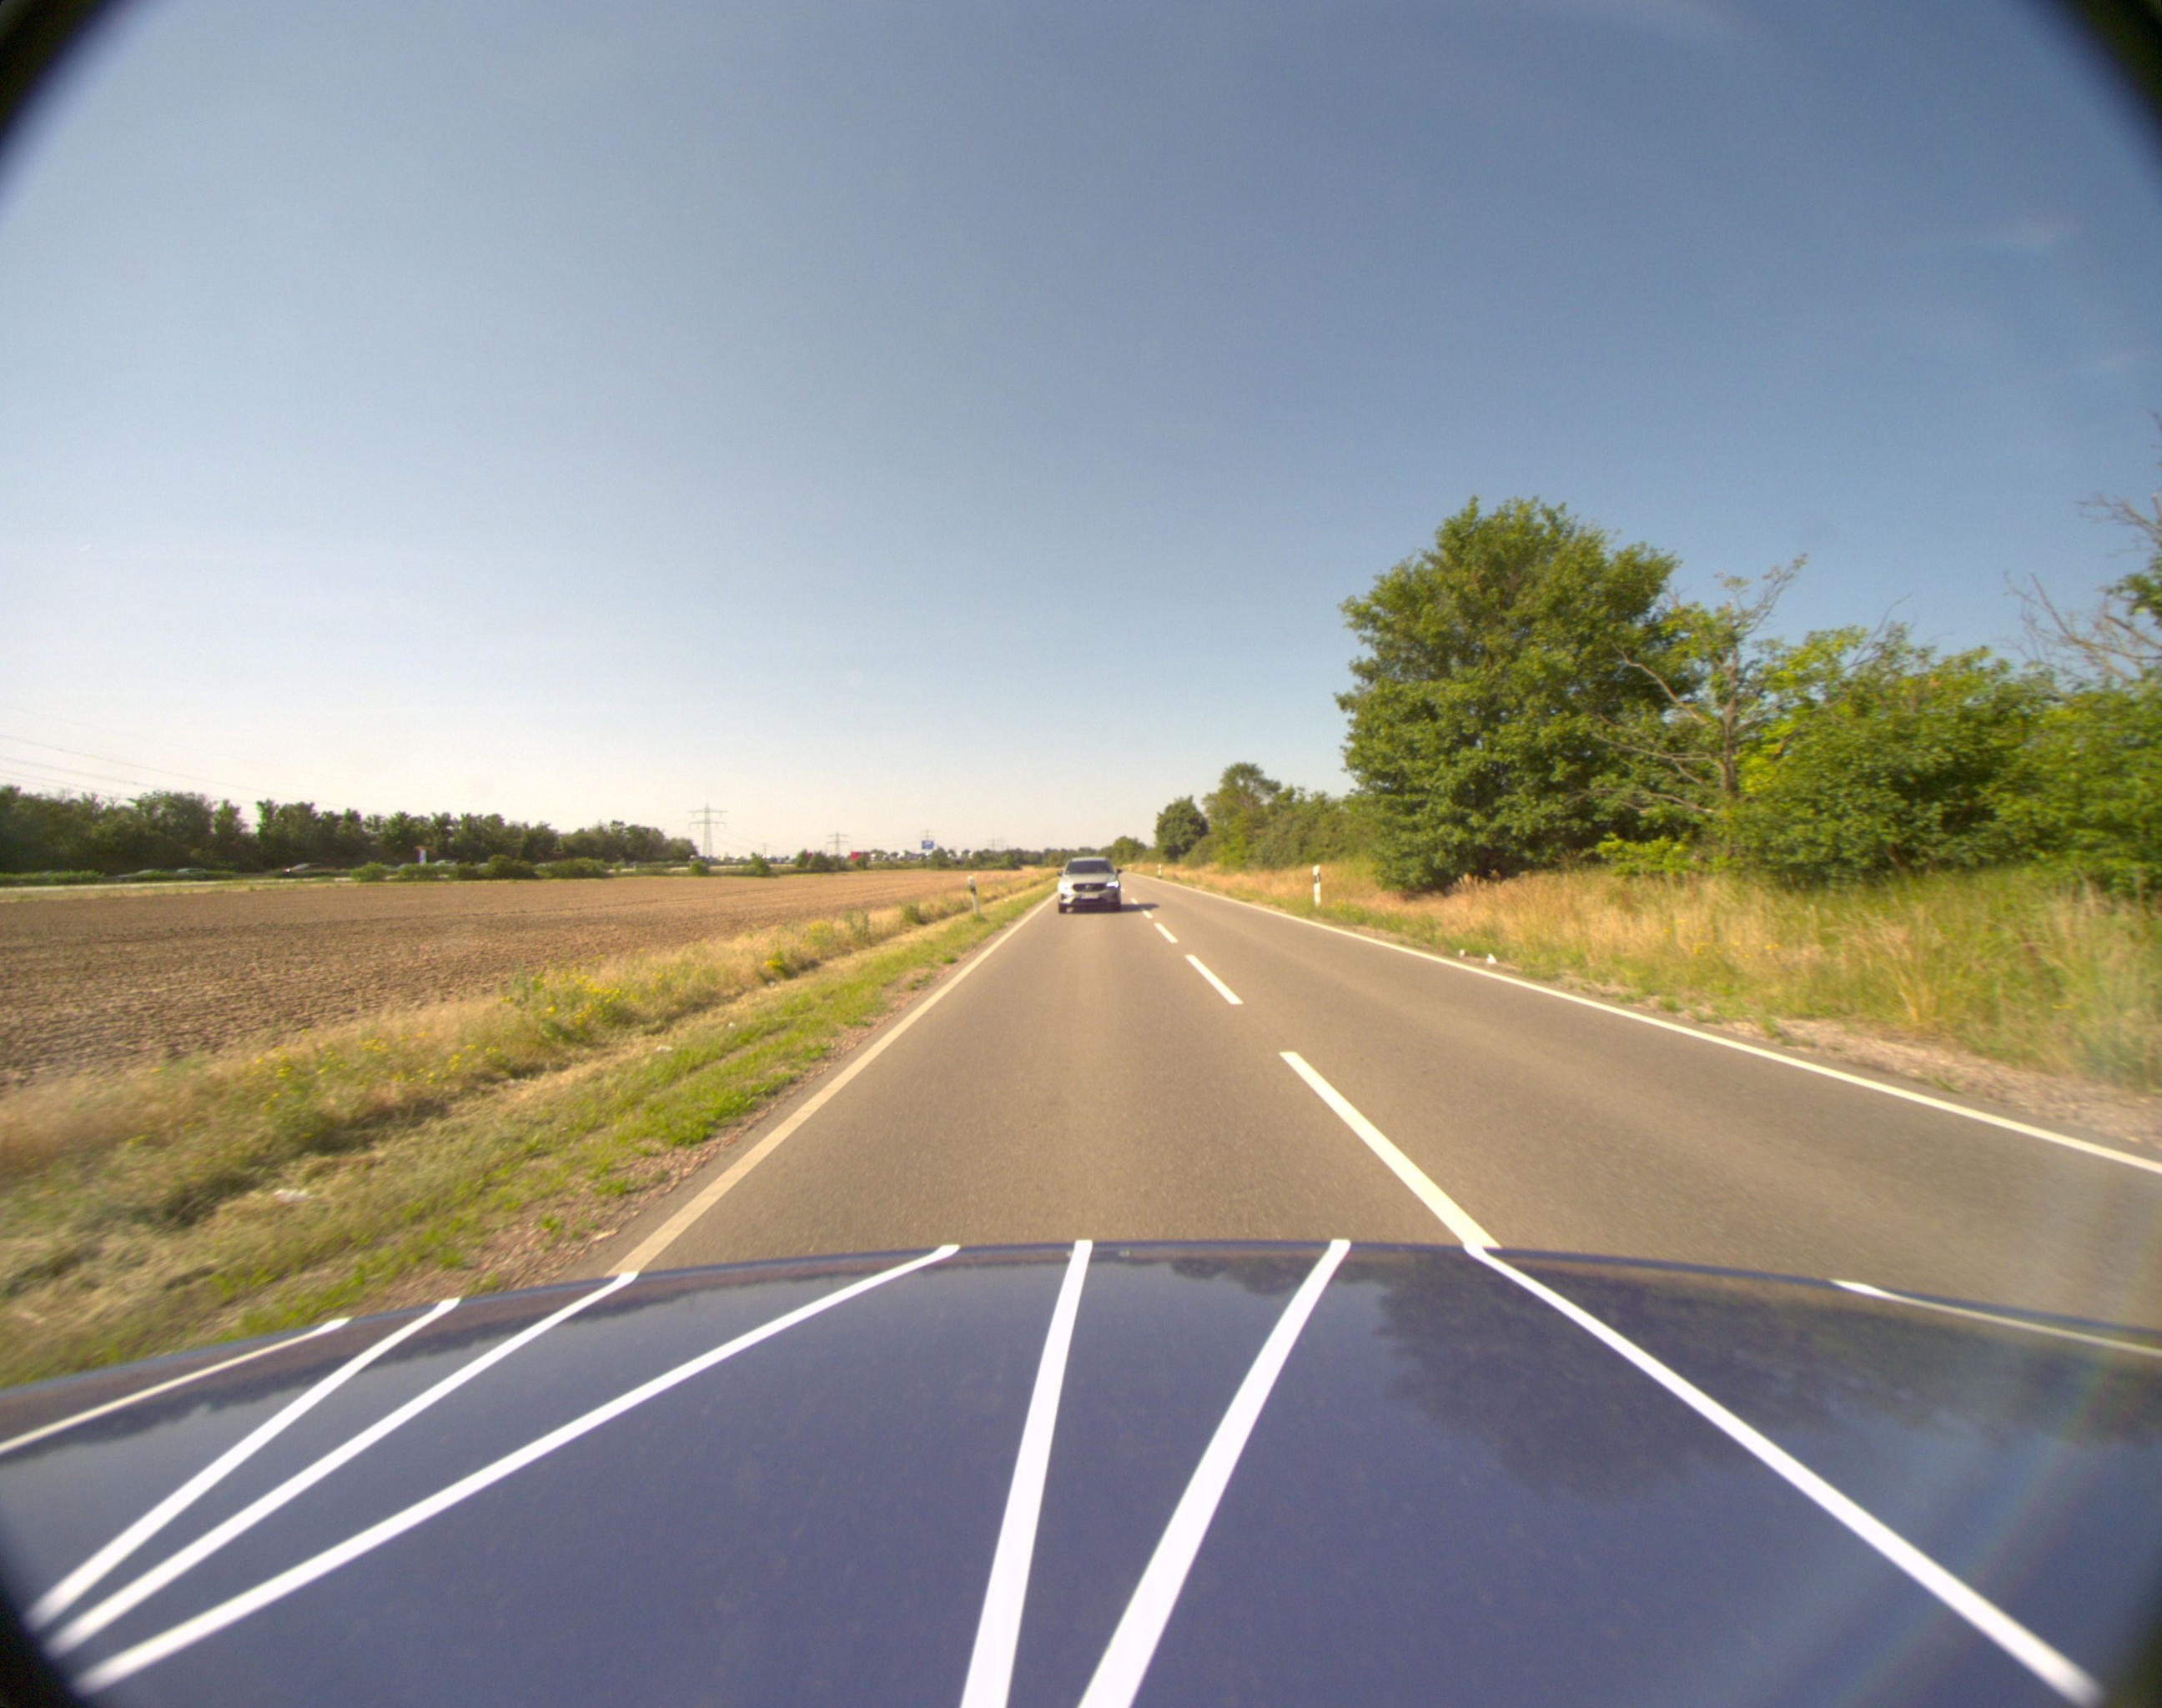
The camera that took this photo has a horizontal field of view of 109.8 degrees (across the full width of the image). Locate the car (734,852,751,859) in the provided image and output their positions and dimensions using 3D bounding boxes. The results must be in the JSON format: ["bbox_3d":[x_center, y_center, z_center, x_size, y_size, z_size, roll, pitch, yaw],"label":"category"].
[{"bbox_3d":[-99.018,0.427,222.287,2.055,1.671,5.609,-2,0,2],"label":"car"}]

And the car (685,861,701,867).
[{"bbox_3d":[-87.162,2.149,170.616,1.583,1.256,3.551,-3,0,0],"label":"car"}]

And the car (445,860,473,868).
[{"bbox_3d":[-101.375,1.595,123.859,1.344,1.118,3.862,-2,0,0],"label":"car"}]

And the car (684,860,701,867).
[{"bbox_3d":[-82.235,1.952,160.934,1.583,1.256,3.551,-3,0,0],"label":"car"}]

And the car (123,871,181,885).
[{"bbox_3d":[-95.856,2.465,78.444,1.485,1.220,3.596,-2,0,2],"label":"car"}]

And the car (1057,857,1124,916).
[{"bbox_3d":[0.285,0.938,23.695,1.840,1.628,4.135,-2,0,0],"label":"car"}]
